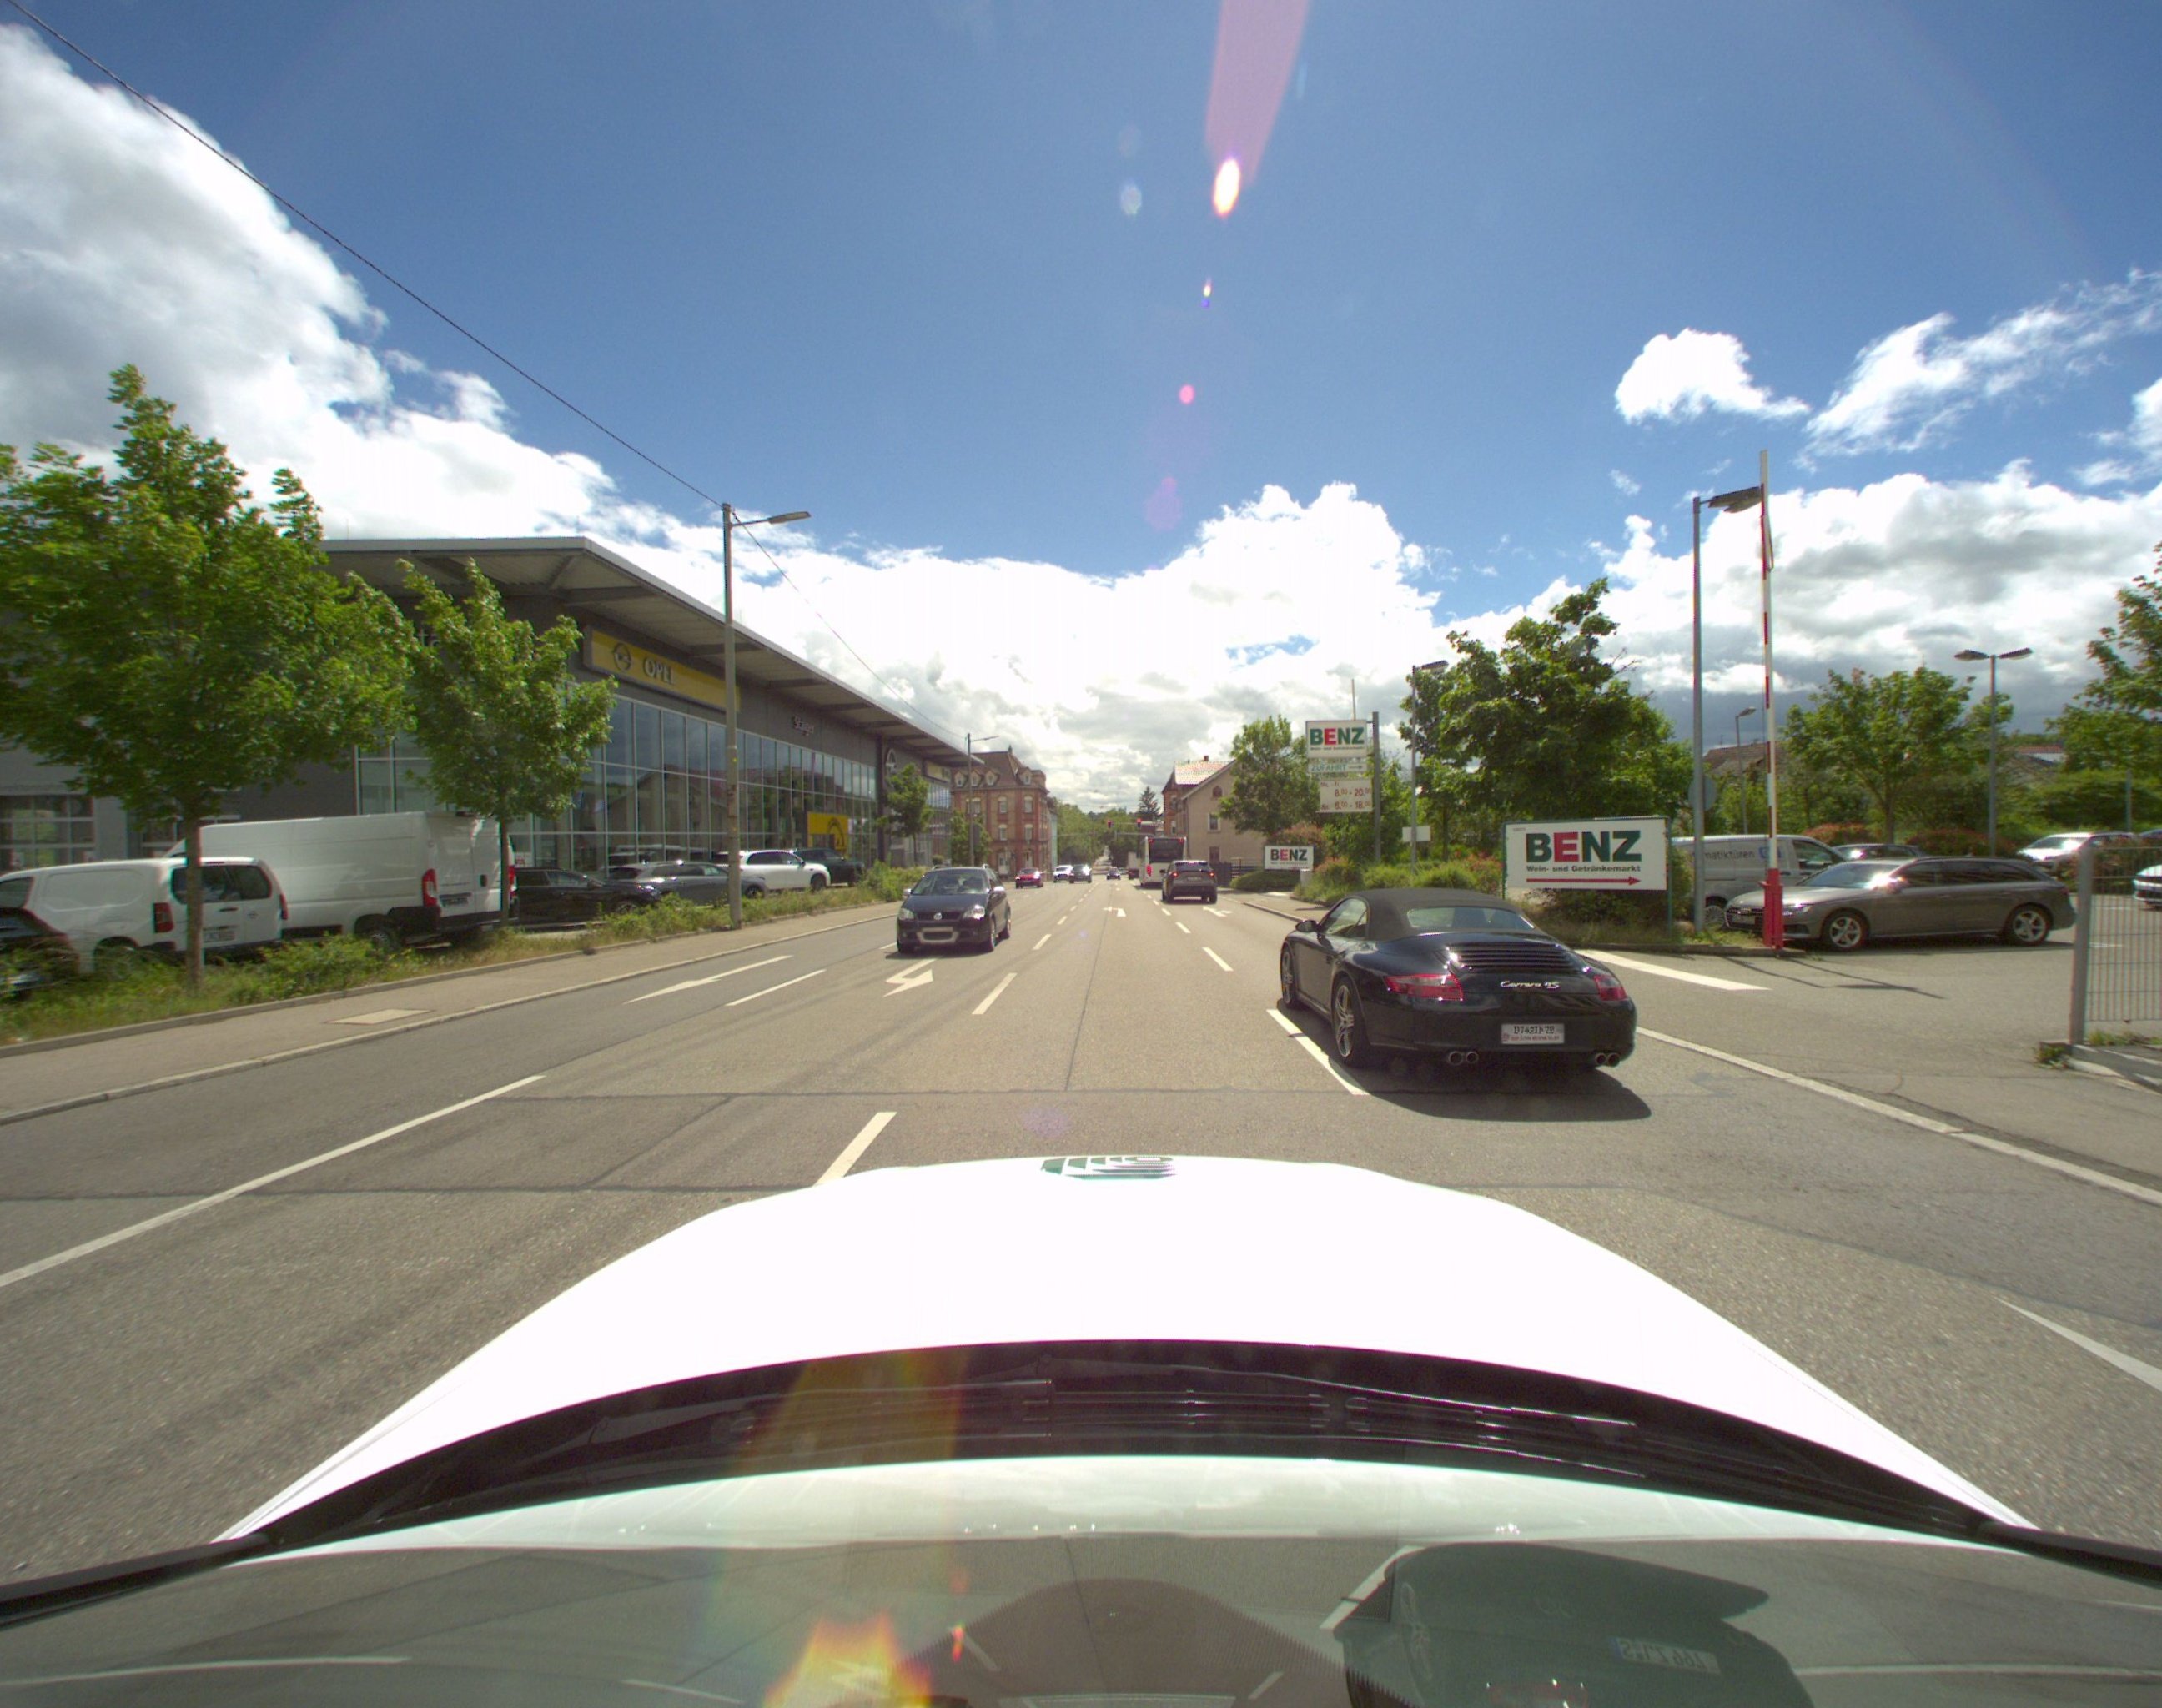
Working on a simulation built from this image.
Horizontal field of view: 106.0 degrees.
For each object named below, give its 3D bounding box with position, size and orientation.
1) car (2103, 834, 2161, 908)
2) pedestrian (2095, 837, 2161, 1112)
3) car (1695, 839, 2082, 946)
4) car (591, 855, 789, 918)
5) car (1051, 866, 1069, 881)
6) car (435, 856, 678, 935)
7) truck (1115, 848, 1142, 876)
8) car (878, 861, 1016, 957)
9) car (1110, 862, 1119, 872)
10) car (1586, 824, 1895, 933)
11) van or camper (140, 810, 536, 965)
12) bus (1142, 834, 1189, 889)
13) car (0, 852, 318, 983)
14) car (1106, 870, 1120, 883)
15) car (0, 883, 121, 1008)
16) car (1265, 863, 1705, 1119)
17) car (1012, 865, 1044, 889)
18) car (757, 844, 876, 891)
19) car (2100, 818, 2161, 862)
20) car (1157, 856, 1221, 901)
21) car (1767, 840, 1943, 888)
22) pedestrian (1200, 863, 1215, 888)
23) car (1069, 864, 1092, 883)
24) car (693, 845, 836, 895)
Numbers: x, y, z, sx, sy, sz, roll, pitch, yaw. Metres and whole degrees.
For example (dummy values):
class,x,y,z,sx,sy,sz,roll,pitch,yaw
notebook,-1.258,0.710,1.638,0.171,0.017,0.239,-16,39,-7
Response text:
class,x,y,z,sx,sy,sz,roll,pitch,yaw
car,24.511,0.283,16.845,4.419,1.491,1.888,-2,0,-1
pedestrian,6.387,0.673,4.420,0.684,1.536,0.857,-1,0,2
car,13.311,0.613,13.676,4.416,1.481,2.001,-2,-1,1
car,-10.990,0.834,23.292,1.876,1.450,4.863,0,2,30
car,-2.145,1.999,84.124,1.858,1.540,4.105,-1,-1,-1
car,-12.007,0.875,18.808,4.499,1.509,1.920,-1,-1,-40
truck,5.710,1.010,99.364,2.659,3.108,9.031,-2,-1,-1
car,-2.379,0.931,15.571,1.823,1.509,4.277,-2,0,1
car,6.949,2.749,169.134,1.826,1.881,4.001,-2,0,1
car,13.217,0.466,16.511,4.700,1.848,2.085,-2,-1,-5
van or camper,-13.213,0.532,14.786,5.008,2.530,2.319,-1,1,1
bus,5.544,0.321,55.315,2.789,3.197,12.211,-1,2,4
car,-14.324,0.879,12.119,3.973,1.705,2.001,-1,1,1
car,4.318,3.024,109.667,1.857,1.666,4.260,-1,-1,2
car,-14.374,1.093,9.552,3.972,1.409,1.929,-1,-1,1
car,2.926,0.865,7.055,1.922,1.376,4.212,-1,2,3
car,-3.718,1.596,57.637,1.865,1.491,3.848,-4,0,0
car,-10.752,0.481,33.501,1.975,1.698,4.513,0,2,28
car,41.093,-0.580,30.170,4.278,1.576,1.922,-2,-1,-1
car,4.101,0.911,31.475,1.924,1.583,4.208,-1,0,1
car,24.479,0.297,25.859,3.859,1.369,1.888,-2,0,-1
pedestrian,8.369,1.402,53.944,0.810,1.582,1.070,-3,-1,2
car,-0.022,1.709,71.714,1.857,1.540,4.108,-1,-1,2
car,-10.925,0.537,28.495,1.913,1.573,4.580,-1,-1,26
